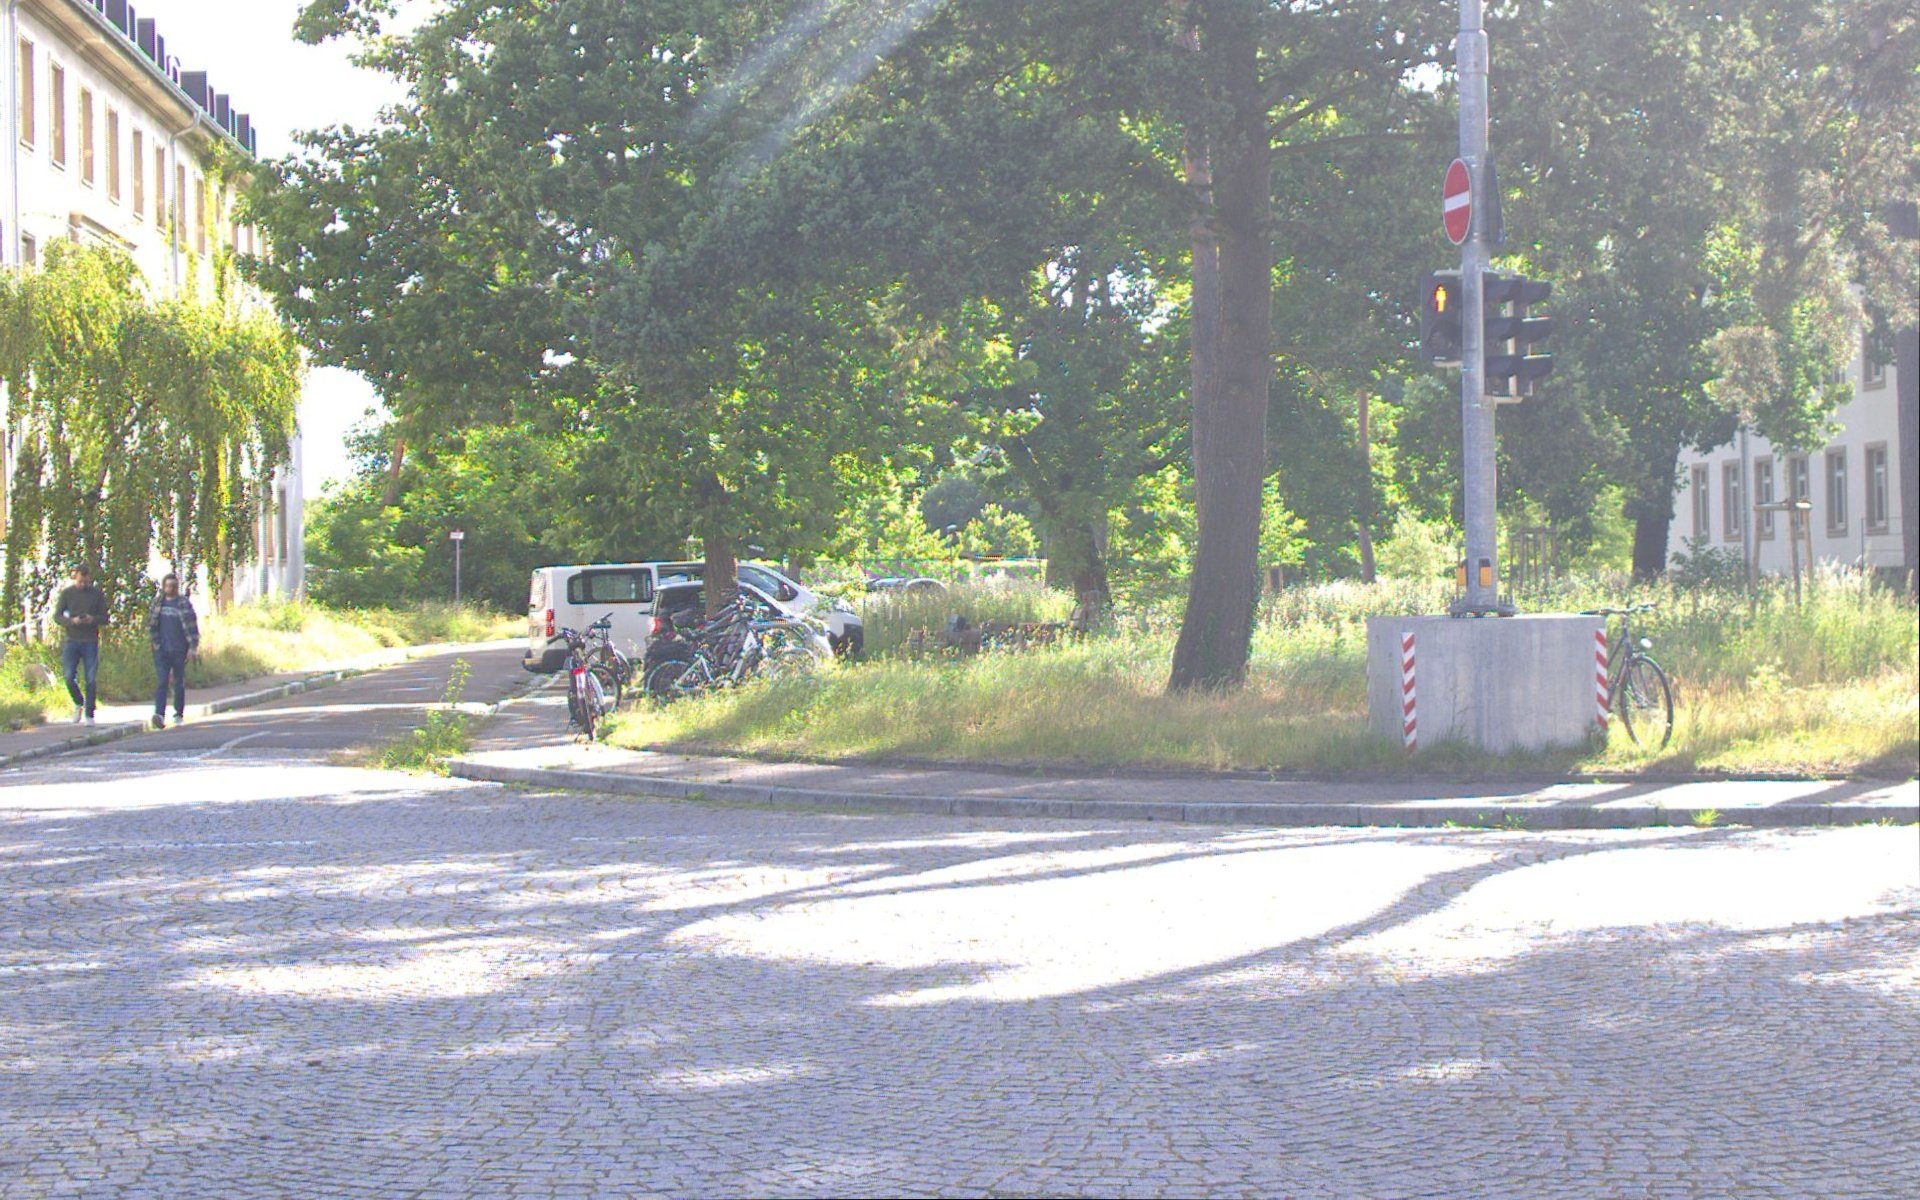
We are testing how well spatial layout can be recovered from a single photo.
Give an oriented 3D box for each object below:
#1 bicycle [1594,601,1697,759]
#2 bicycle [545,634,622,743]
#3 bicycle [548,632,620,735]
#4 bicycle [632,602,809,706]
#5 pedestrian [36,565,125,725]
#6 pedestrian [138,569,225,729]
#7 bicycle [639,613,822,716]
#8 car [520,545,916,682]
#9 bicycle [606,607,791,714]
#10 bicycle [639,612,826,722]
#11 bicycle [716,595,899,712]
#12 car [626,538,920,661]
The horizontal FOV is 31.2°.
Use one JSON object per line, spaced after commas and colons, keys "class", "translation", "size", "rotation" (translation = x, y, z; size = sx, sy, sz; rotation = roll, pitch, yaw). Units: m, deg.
{"class": "bicycle", "translation": [4.828, 0.553, 24.256], "size": [0.466, 1.076, 1.174], "rotation": [-1, 0, -1]}
{"class": "bicycle", "translation": [-3.548, 0.818, 32.394], "size": [0.695, 0.968, 1.861], "rotation": [0, 0, -6]}
{"class": "bicycle", "translation": [-3.750, 0.815, 34.318], "size": [0.695, 0.968, 1.861], "rotation": [0, 0, -6]}
{"class": "bicycle", "translation": [-2.728, 0.605, 39.046], "size": [1.940, 1.125, 0.648], "rotation": [-1, 0, -9]}
{"class": "pedestrian", "translation": [-10.096, 0.514, 39.467], "size": [0.812, 1.811, 0.555], "rotation": [-1, 0, 7]}
{"class": "pedestrian", "translation": [-8.955, 0.554, 39.577], "size": [0.767, 1.811, 0.682], "rotation": [-1, 0, 7]}
{"class": "bicycle", "translation": [-2.405, 0.668, 35.952], "size": [1.854, 1.027, 0.750], "rotation": [-1, 0, -7]}
{"class": "car", "translation": [-3.835, 0.190, 54.040], "size": [5.929, 2.007, 2.476], "rotation": [-1, 0, -11]}
{"class": "bicycle", "translation": [-2.880, 0.659, 37.936], "size": [1.941, 1.125, 0.648], "rotation": [-1, 0, -31]}
{"class": "bicycle", "translation": [-2.442, 0.706, 36.750], "size": [1.940, 1.125, 0.750], "rotation": [-1, 0, -7]}
{"class": "bicycle", "translation": [-1.669, 0.577, 37.498], "size": [1.940, 1.231, 0.485], "rotation": [-1, 0, -7]}
{"class": "car", "translation": [-2.731, -0.021, 49.697], "size": [3.986, 1.678, 1.848], "rotation": [-1, 0, -12]}
